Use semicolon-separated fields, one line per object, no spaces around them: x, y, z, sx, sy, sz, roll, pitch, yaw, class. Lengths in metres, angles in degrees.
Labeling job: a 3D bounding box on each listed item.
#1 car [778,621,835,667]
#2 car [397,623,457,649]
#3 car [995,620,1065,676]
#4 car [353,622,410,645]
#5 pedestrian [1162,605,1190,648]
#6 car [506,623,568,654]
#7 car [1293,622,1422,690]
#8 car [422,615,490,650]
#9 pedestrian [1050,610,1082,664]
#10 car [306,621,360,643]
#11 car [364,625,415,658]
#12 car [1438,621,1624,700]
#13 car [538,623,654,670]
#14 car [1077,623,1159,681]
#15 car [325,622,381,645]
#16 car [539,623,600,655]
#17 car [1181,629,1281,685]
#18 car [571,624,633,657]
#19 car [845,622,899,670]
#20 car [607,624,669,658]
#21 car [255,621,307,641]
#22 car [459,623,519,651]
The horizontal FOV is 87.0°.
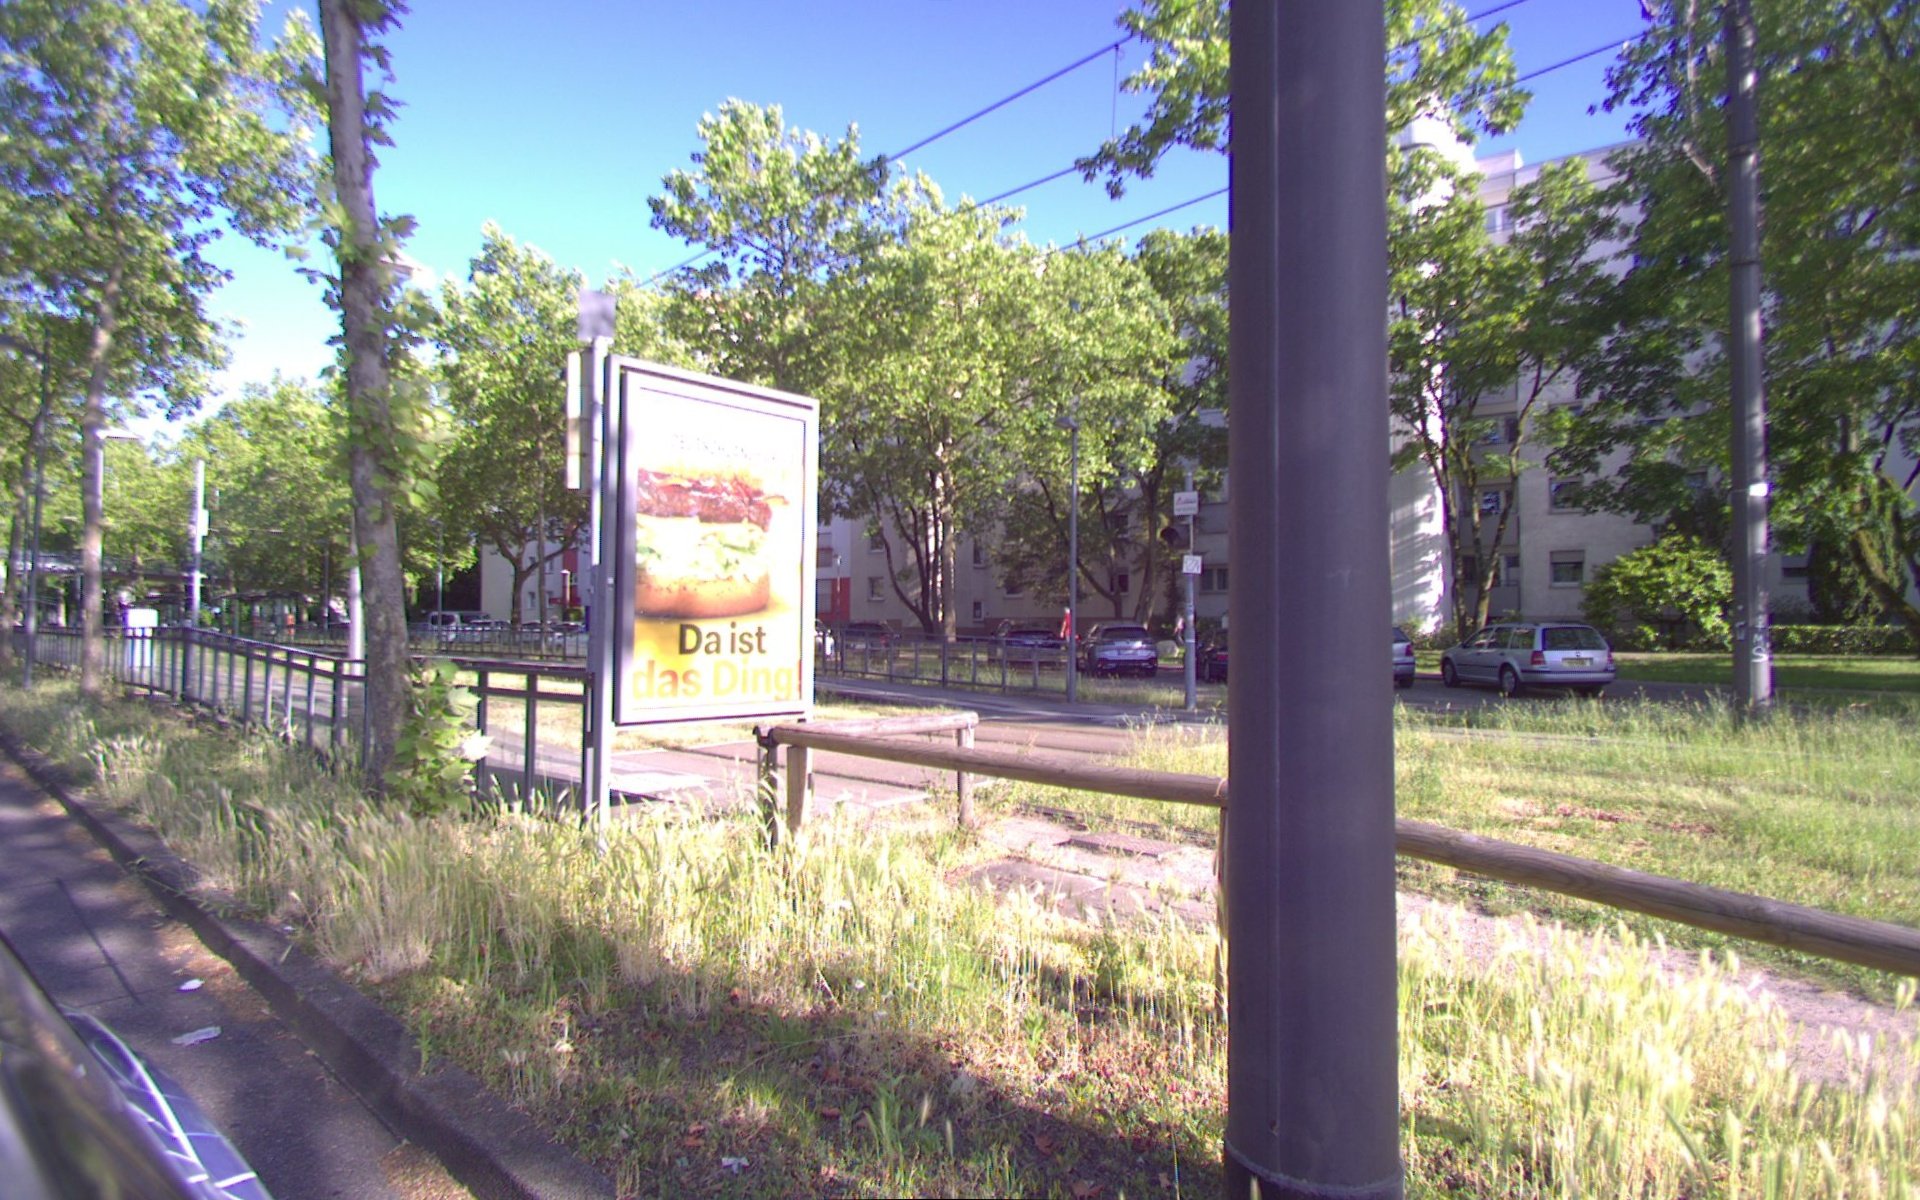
-5.562;1.568;37.018;1.633;1.522;3.805;-1;-1;-2;car
-31.330;2.081;59.597;1.633;1.452;3.805;-1;-1;-2;car
1.987;1.354;29.667;1.633;1.522;3.805;-1;-1;-2;car
-37.883;2.171;66.376;1.633;1.452;3.805;-1;-1;-2;car
8.378;1.034;39.196;0.786;1.635;0.755;-1;0;39;pedestrian
-21.335;1.938;51.182;1.633;1.452;3.805;-1;-1;-2;car
9.147;1.238;23.591;1.559;1.413;3.638;-1;-1;0;car
-28.451;1.823;57.252;1.814;1.888;4.323;-1;-1;-2;car
3.525;1.229;33.643;0.786;1.745;0.755;-1;0;39;pedestrian
-44.978;2.286;72.678;1.633;1.452;3.805;-1;-1;-2;car
-29.067;2.099;51.534;2.817;1.569;1.558;-2;-1;44;car
11.478;1.161;20.666;1.559;1.413;3.906;-1;-1;0;car
-12.896;1.610;35.727;4.636;1.522;1.636;-1;-1;38;car
4.222;1.364;27.519;1.633;1.413;3.803;-1;-1;0;car
-40.837;2.225;68.189;1.633;1.452;3.805;-1;-1;-2;car
-19.043;1.896;49.539;1.633;1.452;3.805;-1;-1;-2;car
6.679;1.377;25.278;1.445;1.234;3.815;-1;-1;0;car
-16.623;1.854;47.158;1.633;1.452;3.805;-1;-1;-2;car
-2.972;1.526;34.649;1.633;1.522;3.805;-1;-1;-2;car
-14.060;1.764;44.336;1.633;1.366;3.805;-1;-1;-2;car
-53.050;2.400;79.149;1.633;1.452;3.805;-1;-1;-2;car
-25.869;1.998;55.658;1.633;1.452;3.805;-1;-1;-2;car
